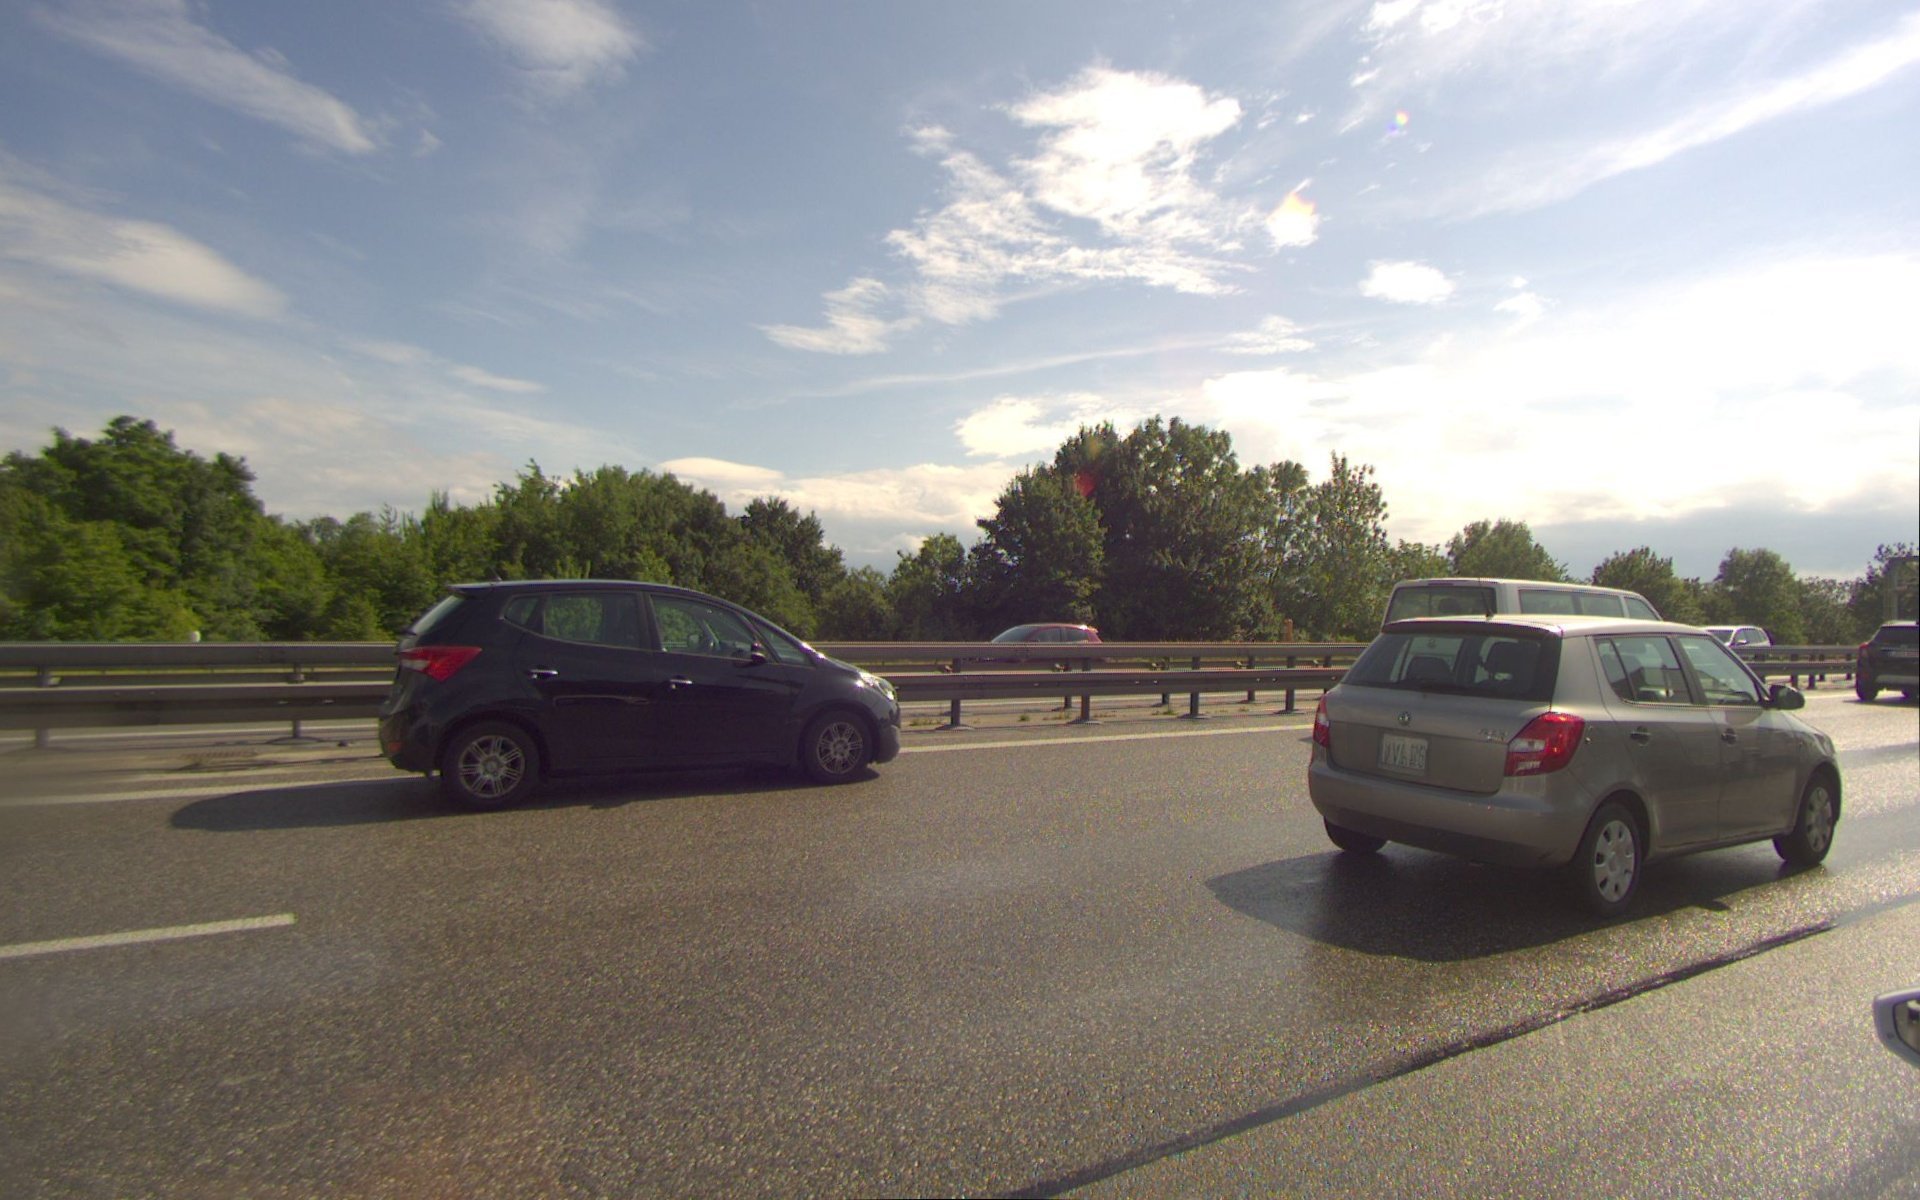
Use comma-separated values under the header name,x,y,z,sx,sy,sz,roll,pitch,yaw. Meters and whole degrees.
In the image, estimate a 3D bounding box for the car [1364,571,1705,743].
name,x,y,z,sx,sy,sz,roll,pitch,yaw
car,7.838,0.698,13.541,4.960,1.959,1.838,1,0,-32

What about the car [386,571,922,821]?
name,x,y,z,sx,sy,sz,roll,pitch,yaw
car,-2.432,0.649,8.225,3.873,1.599,1.773,1,0,-32

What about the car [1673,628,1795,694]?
name,x,y,z,sx,sy,sz,roll,pitch,yaw
car,25.840,1.973,33.508,3.956,2.017,1.982,1,0,-32

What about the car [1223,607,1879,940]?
name,x,y,z,sx,sy,sz,roll,pitch,yaw
car,3.757,0.825,6.331,3.781,1.477,1.978,1,0,-30

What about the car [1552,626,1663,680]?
name,x,y,z,sx,sy,sz,roll,pitch,yaw
car,24.214,1.949,37.541,3.956,1.862,1.982,1,0,-32

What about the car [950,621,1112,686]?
name,x,y,z,sx,sy,sz,roll,pitch,yaw
car,1.660,1.213,23.378,3.401,1.372,1.680,1,0,-31

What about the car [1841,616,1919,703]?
name,x,y,z,sx,sy,sz,roll,pitch,yaw
car,20.384,1.233,21.151,3.958,1.684,1.761,2,0,-34
